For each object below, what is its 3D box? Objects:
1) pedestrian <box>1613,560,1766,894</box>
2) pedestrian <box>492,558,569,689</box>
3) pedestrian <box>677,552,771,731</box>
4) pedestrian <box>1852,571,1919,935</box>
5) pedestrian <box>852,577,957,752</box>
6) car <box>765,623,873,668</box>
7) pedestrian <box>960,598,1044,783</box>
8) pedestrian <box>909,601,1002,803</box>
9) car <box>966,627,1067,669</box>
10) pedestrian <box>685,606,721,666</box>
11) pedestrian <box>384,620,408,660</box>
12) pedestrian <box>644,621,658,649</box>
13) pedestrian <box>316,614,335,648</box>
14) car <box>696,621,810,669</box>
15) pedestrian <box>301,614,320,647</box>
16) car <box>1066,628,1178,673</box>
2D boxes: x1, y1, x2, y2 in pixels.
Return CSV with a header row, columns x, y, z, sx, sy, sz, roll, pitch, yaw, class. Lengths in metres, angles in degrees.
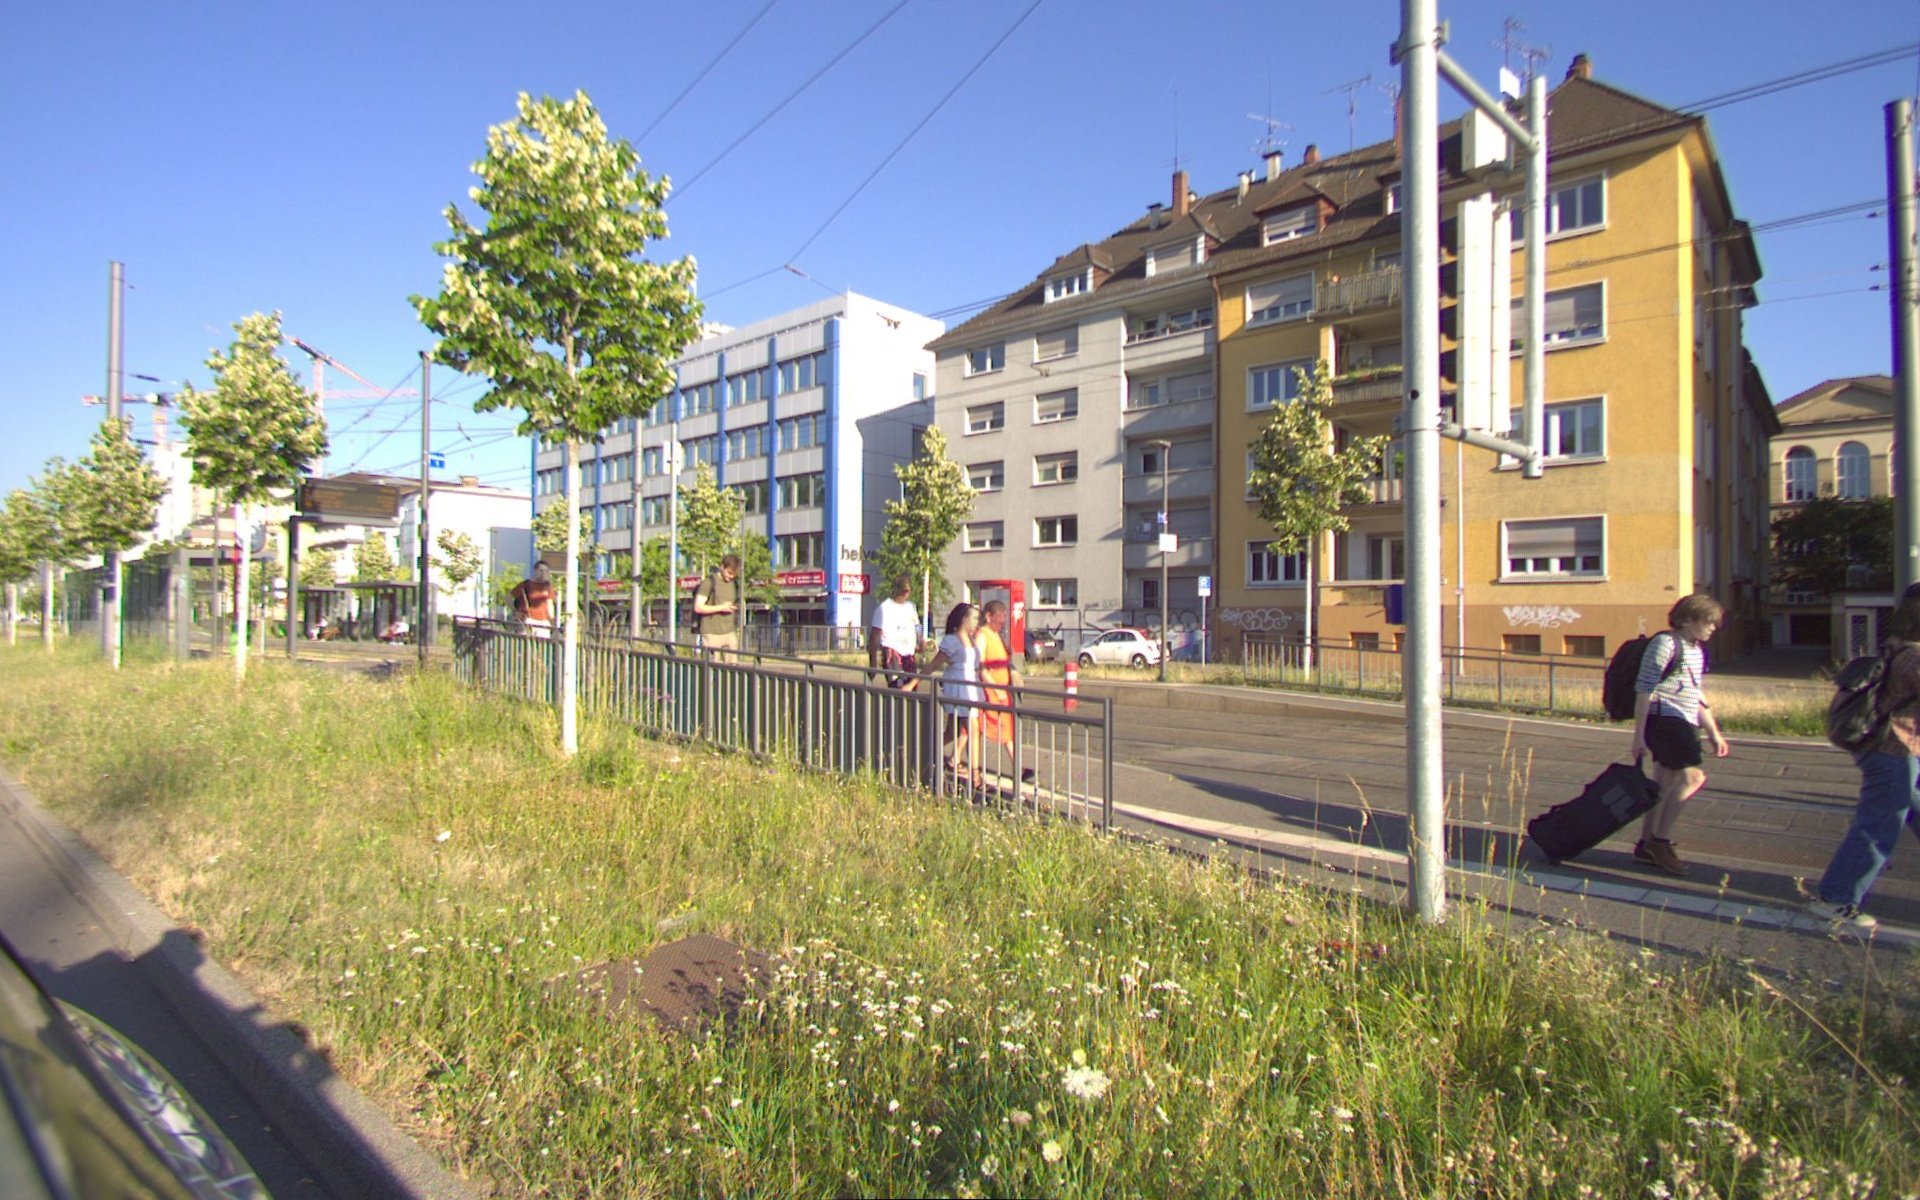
x,y,z,sx,sy,sz,roll,pitch,yaw,class
3.985,0.631,5.520,0.619,1.653,0.778,-1,-1,39,pedestrian
-5.850,0.307,13.793,0.620,1.711,0.776,-1,0,44,pedestrian
-2.595,0.435,11.126,0.620,1.878,0.776,-1,0,44,pedestrian
4.423,0.647,4.516,0.620,1.547,0.777,-1,0,44,pedestrian
-0.519,0.567,9.547,0.619,1.560,0.777,2,1,40,pedestrian
-5.276,1.646,37.661,3.941,1.519,1.861,-1,0,41,car
0.354,0.707,8.283,0.520,1.442,0.634,-1,0,18,pedestrian
-0.024,0.745,7.756,0.520,1.467,0.634,-1,0,18,pedestrian
2.224,1.866,40.491,3.672,1.519,1.861,-1,0,41,car
-7.359,1.014,28.943,0.620,1.685,0.776,-1,0,44,pedestrian
-24.576,1.741,44.101,0.771,1.705,0.651,-1,0,39,pedestrian
-19.557,2.191,64.120,0.636,1.759,0.599,-1,0,-42,pedestrian
-31.891,1.560,50.842,0.650,1.705,0.773,-1,0,-43,pedestrian
-7.215,1.523,35.141,3.941,1.519,1.861,-1,0,41,car
-33.604,1.582,52.385,0.772,1.705,0.651,-1,0,44,pedestrian
5.945,1.818,37.362,3.672,1.519,1.861,-1,0,41,car
